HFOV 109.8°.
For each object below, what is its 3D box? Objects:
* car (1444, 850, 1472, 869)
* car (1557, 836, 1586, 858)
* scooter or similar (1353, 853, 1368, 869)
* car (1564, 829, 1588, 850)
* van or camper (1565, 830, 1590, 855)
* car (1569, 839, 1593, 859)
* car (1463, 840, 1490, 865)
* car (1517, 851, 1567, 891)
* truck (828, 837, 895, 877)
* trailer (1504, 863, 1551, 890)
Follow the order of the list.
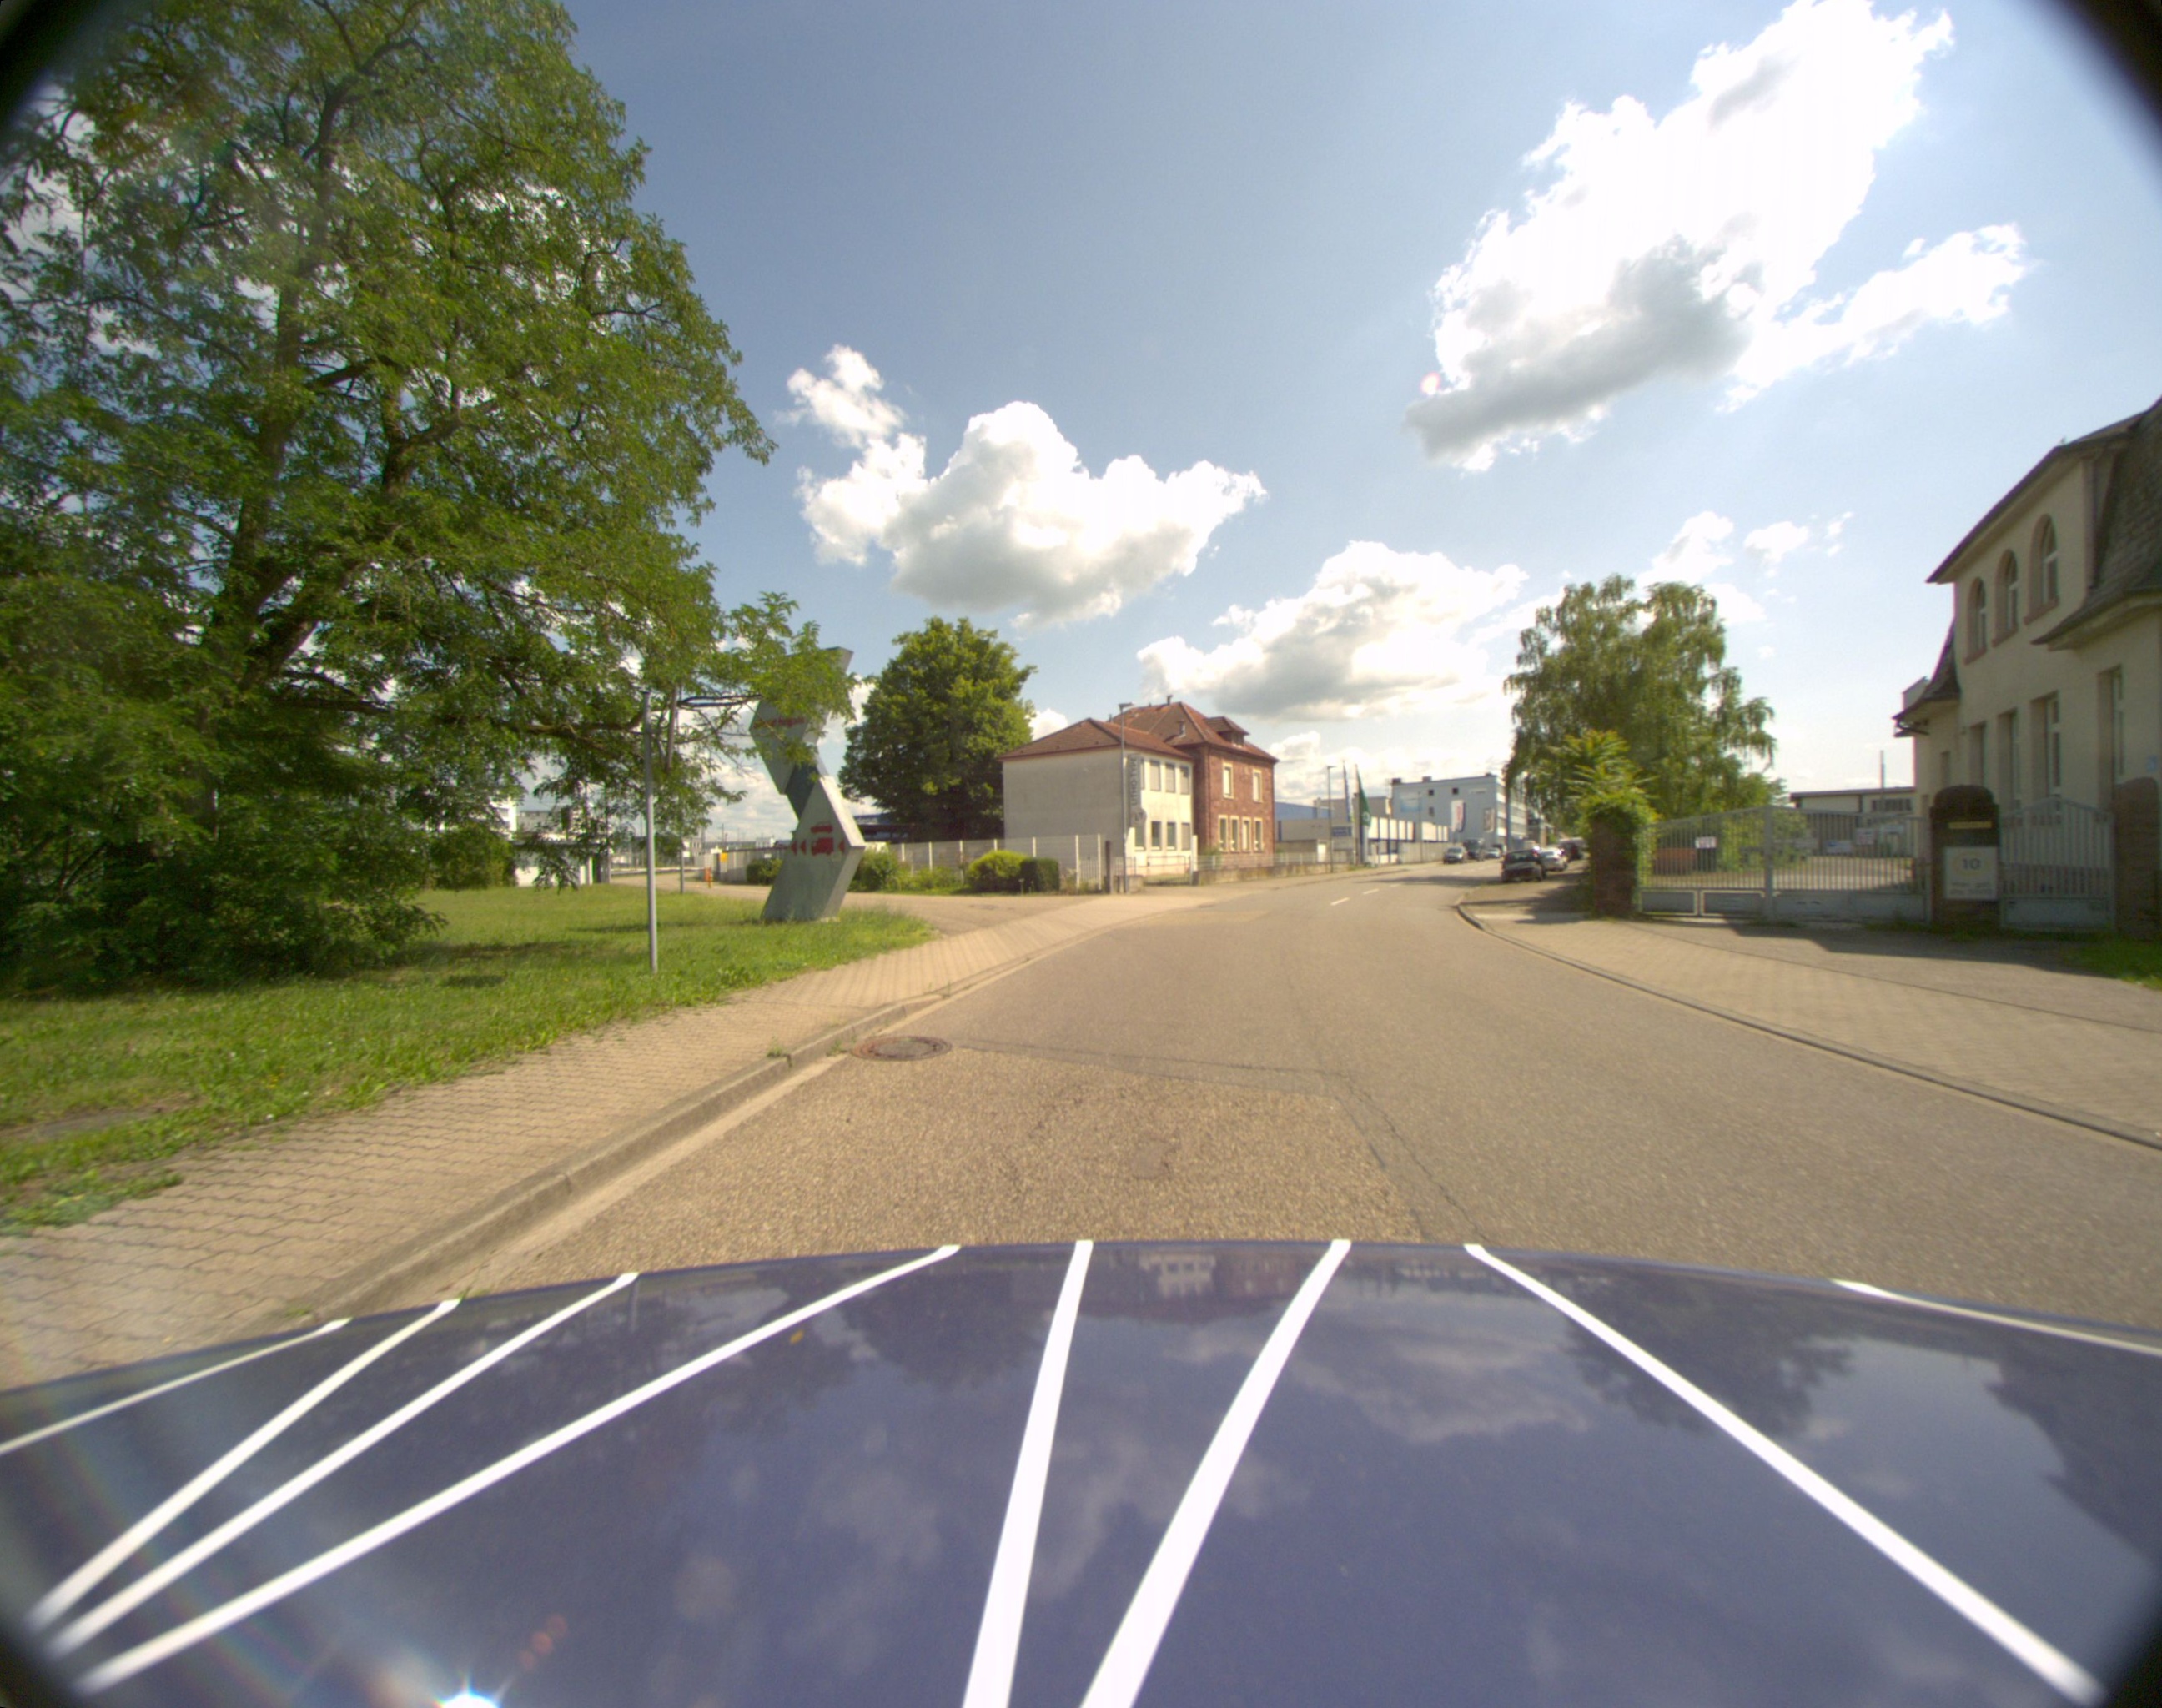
[{"bbox_3d":[37.907,0.547,76.265,1.826,1.655,4.564,-1,1,35],"label":"car"},{"bbox_3d":[38.614,-0.596,59.779,1.701,1.586,4.796,-1,1,35],"label":"car"},{"bbox_3d":[22.645,0.574,61.565,0.259,1.238,1.146,-3,2,-37],"label":"scooter or similar"},{"bbox_3d":[53.556,-1.601,82.151,1.900,1.942,4.967,-8,-3,34],"label":"car"},{"bbox_3d":[60.582,-1.427,92.759,2.265,2.786,6.846,-6,-1,33],"label":"van or camper"},{"bbox_3d":[51.612,-0.498,78.372,1.701,1.791,3.834,-6,-2,37],"label":"car"},{"bbox_3d":[45.075,-0.173,86.500,1.938,2.732,6.167,0,0,34],"label":"car"},{"bbox_3d":[21.718,0.771,35.734,1.684,1.503,4.165,-7,-1,34],"label":"car"},{"bbox_3d":[-13.891,0.212,47.887,2.004,2.410,4.730,-1,0,-45],"label":"truck"},{"bbox_3d":[19.162,0.957,32.568,1.466,0.845,2.471,-7,-2,35],"label":"trailer"}]
